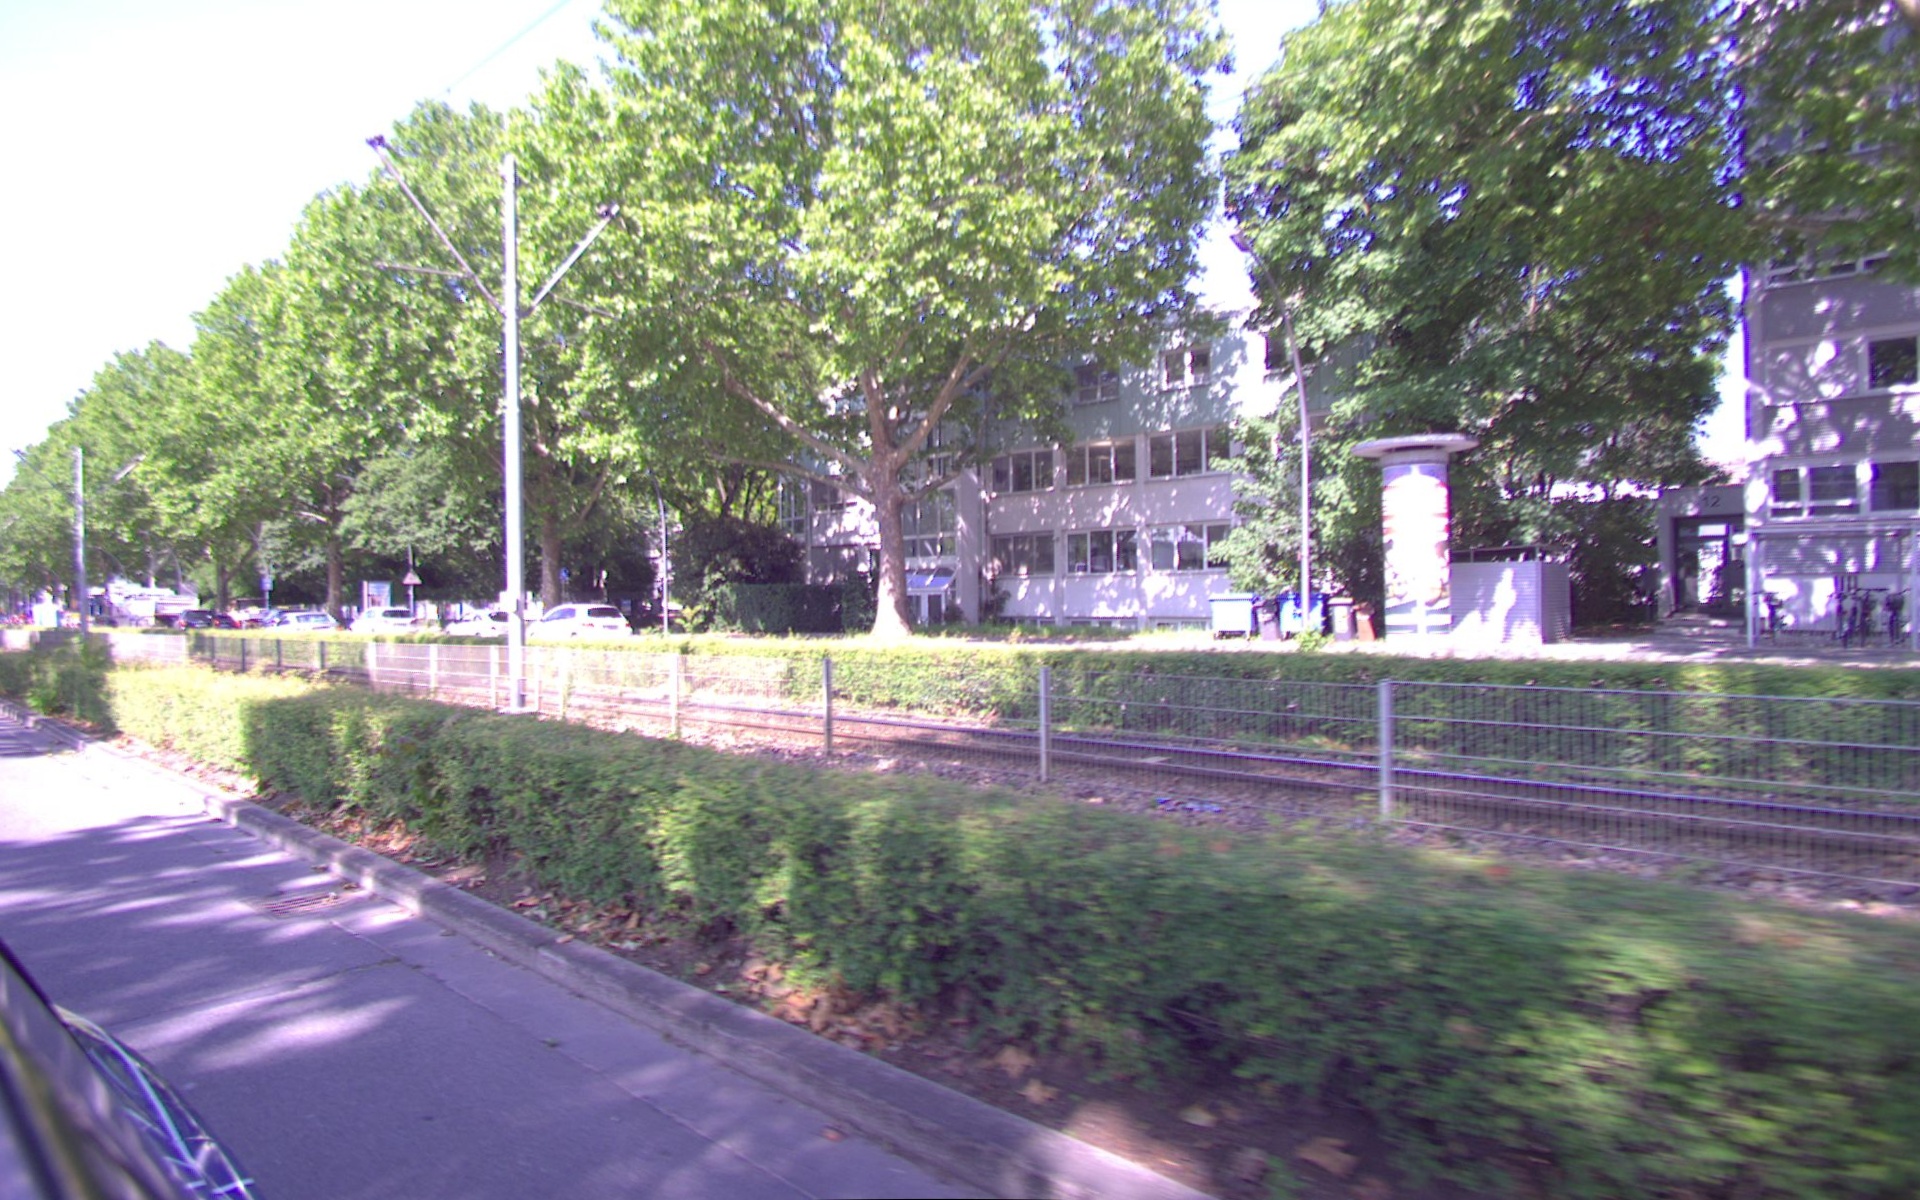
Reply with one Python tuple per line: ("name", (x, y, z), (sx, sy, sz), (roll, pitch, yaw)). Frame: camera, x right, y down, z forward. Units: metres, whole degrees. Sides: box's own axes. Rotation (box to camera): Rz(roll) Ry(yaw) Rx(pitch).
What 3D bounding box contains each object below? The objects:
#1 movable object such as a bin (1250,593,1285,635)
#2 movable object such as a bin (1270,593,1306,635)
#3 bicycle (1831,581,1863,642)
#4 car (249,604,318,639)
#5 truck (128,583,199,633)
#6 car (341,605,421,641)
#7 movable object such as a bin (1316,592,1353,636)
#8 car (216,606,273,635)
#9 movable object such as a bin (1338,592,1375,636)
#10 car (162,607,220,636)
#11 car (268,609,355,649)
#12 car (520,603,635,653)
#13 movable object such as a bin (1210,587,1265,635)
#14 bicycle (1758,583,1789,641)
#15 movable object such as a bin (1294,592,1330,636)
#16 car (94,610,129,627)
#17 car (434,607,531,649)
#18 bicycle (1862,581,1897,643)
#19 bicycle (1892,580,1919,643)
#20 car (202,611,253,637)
("movable object such as a bin", (7.888, 0.352, 25.939), (0.545, 1.044, 0.887), (-1, 0, 41))
("movable object such as a bin", (8.288, 0.347, 25.538), (0.545, 1.044, 0.887), (-1, 0, 41))
("bicycle", (16.993, 0.206, 19.402), (0.421, 1.111, 1.747), (-1, 0, 40))
("car", (-32.989, 1.026, 49.323), (3.998, 1.594, 1.836), (-1, 0, 41))
("truck", (-55.958, 0.569, 71.058), (6.538, 3.303, 2.716), (-1, 0, 41))
("car", (-25.516, 0.993, 44.564), (3.998, 1.464, 1.836), (-1, 0, 41))
("movable object such as a bin", (9.165, 0.336, 24.762), (0.545, 1.044, 0.887), (-1, 0, 41))
("car", (-39.991, 1.143, 56.523), (3.890, 1.425, 1.680), (-1, 2, 41))
("movable object such as a bin", (9.536, 0.331, 24.343), (0.545, 1.044, 0.887), (-1, 0, 41))
("car", (-41.565, 1.165, 54.675), (3.890, 1.425, 1.680), (-1, 2, 41))
("car", (-25.718, 1.113, 40.087), (3.998, 1.464, 1.836), (-1, 0, 41))
("car", (-12.187, 0.887, 32.149), (3.911, 1.502, 1.796), (-1, -2, 41))
("movable object such as a bin", (7.259, 0.285, 26.517), (1.098, 1.198, 0.886), (-1, 0, 41))
("bicycle", (16.180, 0.217, 20.122), (0.421, 1.111, 1.747), (-1, 0, 40))
("movable object such as a bin", (8.748, 0.341, 25.143), (0.545, 1.044, 0.887), (-1, 0, 41))
("car", (-73.352, 1.605, 87.509), (3.863, 1.464, 1.730), (-1, 0, 41))
("car", (-18.025, 1.030, 38.146), (3.998, 1.464, 1.832), (-1, 0, 41))
("bicycle", (17.317, 0.202, 19.071), (0.421, 1.111, 1.747), (-1, 0, 40))
("bicycle", (17.643, 0.198, 18.776), (0.421, 1.111, 1.747), (-1, 0, 40))
("car", (-45.243, 1.470, 62.514), (3.863, 1.464, 1.730), (-1, 0, 41))
